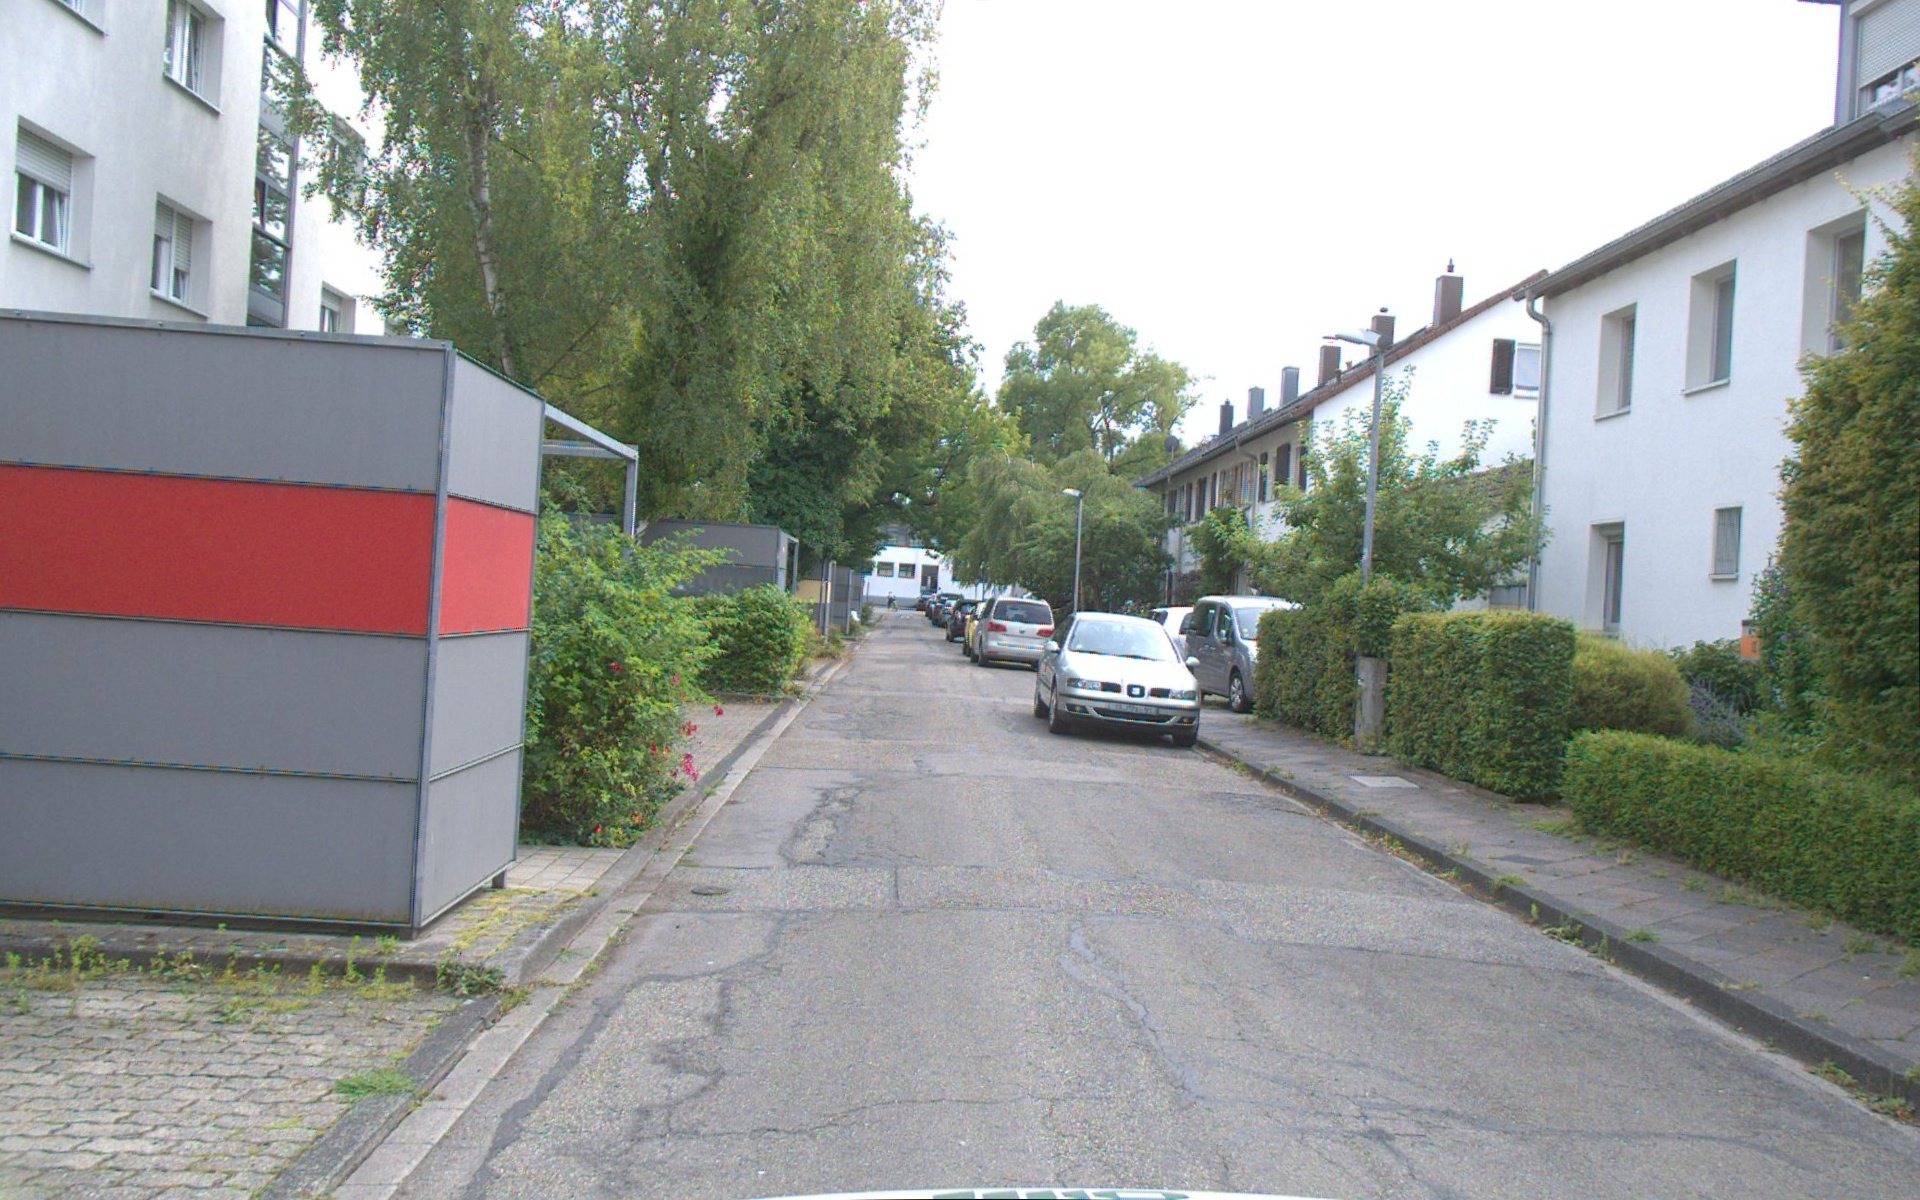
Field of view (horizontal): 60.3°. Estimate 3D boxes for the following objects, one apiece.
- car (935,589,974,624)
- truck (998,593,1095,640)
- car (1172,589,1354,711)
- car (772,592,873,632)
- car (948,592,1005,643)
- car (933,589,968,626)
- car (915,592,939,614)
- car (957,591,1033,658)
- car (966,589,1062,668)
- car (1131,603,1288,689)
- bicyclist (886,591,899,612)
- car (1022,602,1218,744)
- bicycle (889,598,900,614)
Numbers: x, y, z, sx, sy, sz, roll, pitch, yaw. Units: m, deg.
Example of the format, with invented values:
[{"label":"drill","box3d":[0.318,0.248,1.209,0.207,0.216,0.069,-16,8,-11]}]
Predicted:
[{"label":"car","box3d":[-0.314,0.316,84.227,1.789,1.608,3.999,5,0,-2]},{"label":"truck","box3d":[4.031,0.752,77.597,4.302,2.049,1.999,2,0,-3]},{"label":"car","box3d":[4.816,0.757,26.929,1.790,1.808,4.335,1,0,-6]},{"label":"car","box3d":[-5.509,0.467,66.836,3.951,1.418,1.737,2,0,-3]},{"label":"car","box3d":[0.548,0.590,59.224,1.789,1.608,4.191,5,0,-1]},{"label":"car","box3d":[-0.591,0.431,95.979,1.789,1.915,3.999,5,0,-2]},{"label":"car","box3d":[-2.748,0.265,136.787,1.789,1.608,3.999,5,0,-2]},{"label":"car","box3d":[0.925,0.642,45.754,1.789,1.608,3.999,5,0,-2]},{"label":"car","box3d":[1.228,0.638,39.049,1.789,1.608,3.997,5,0,-3]},{"label":"car","box3d":[4.932,0.897,32.922,2.761,1.596,1.739,1,0,-5]},{"label":"bicyclist","box3d":[-5.072,0.104,124.495,0.782,1.537,0.934,5,-1,0]},{"label":"car","box3d":[1.856,0.815,20.481,1.789,1.394,4.329,5,0,-1]},{"label":"bicycle","box3d":[-4.927,0.466,124.298,0.675,1.151,2.579,5,0,0]}]
